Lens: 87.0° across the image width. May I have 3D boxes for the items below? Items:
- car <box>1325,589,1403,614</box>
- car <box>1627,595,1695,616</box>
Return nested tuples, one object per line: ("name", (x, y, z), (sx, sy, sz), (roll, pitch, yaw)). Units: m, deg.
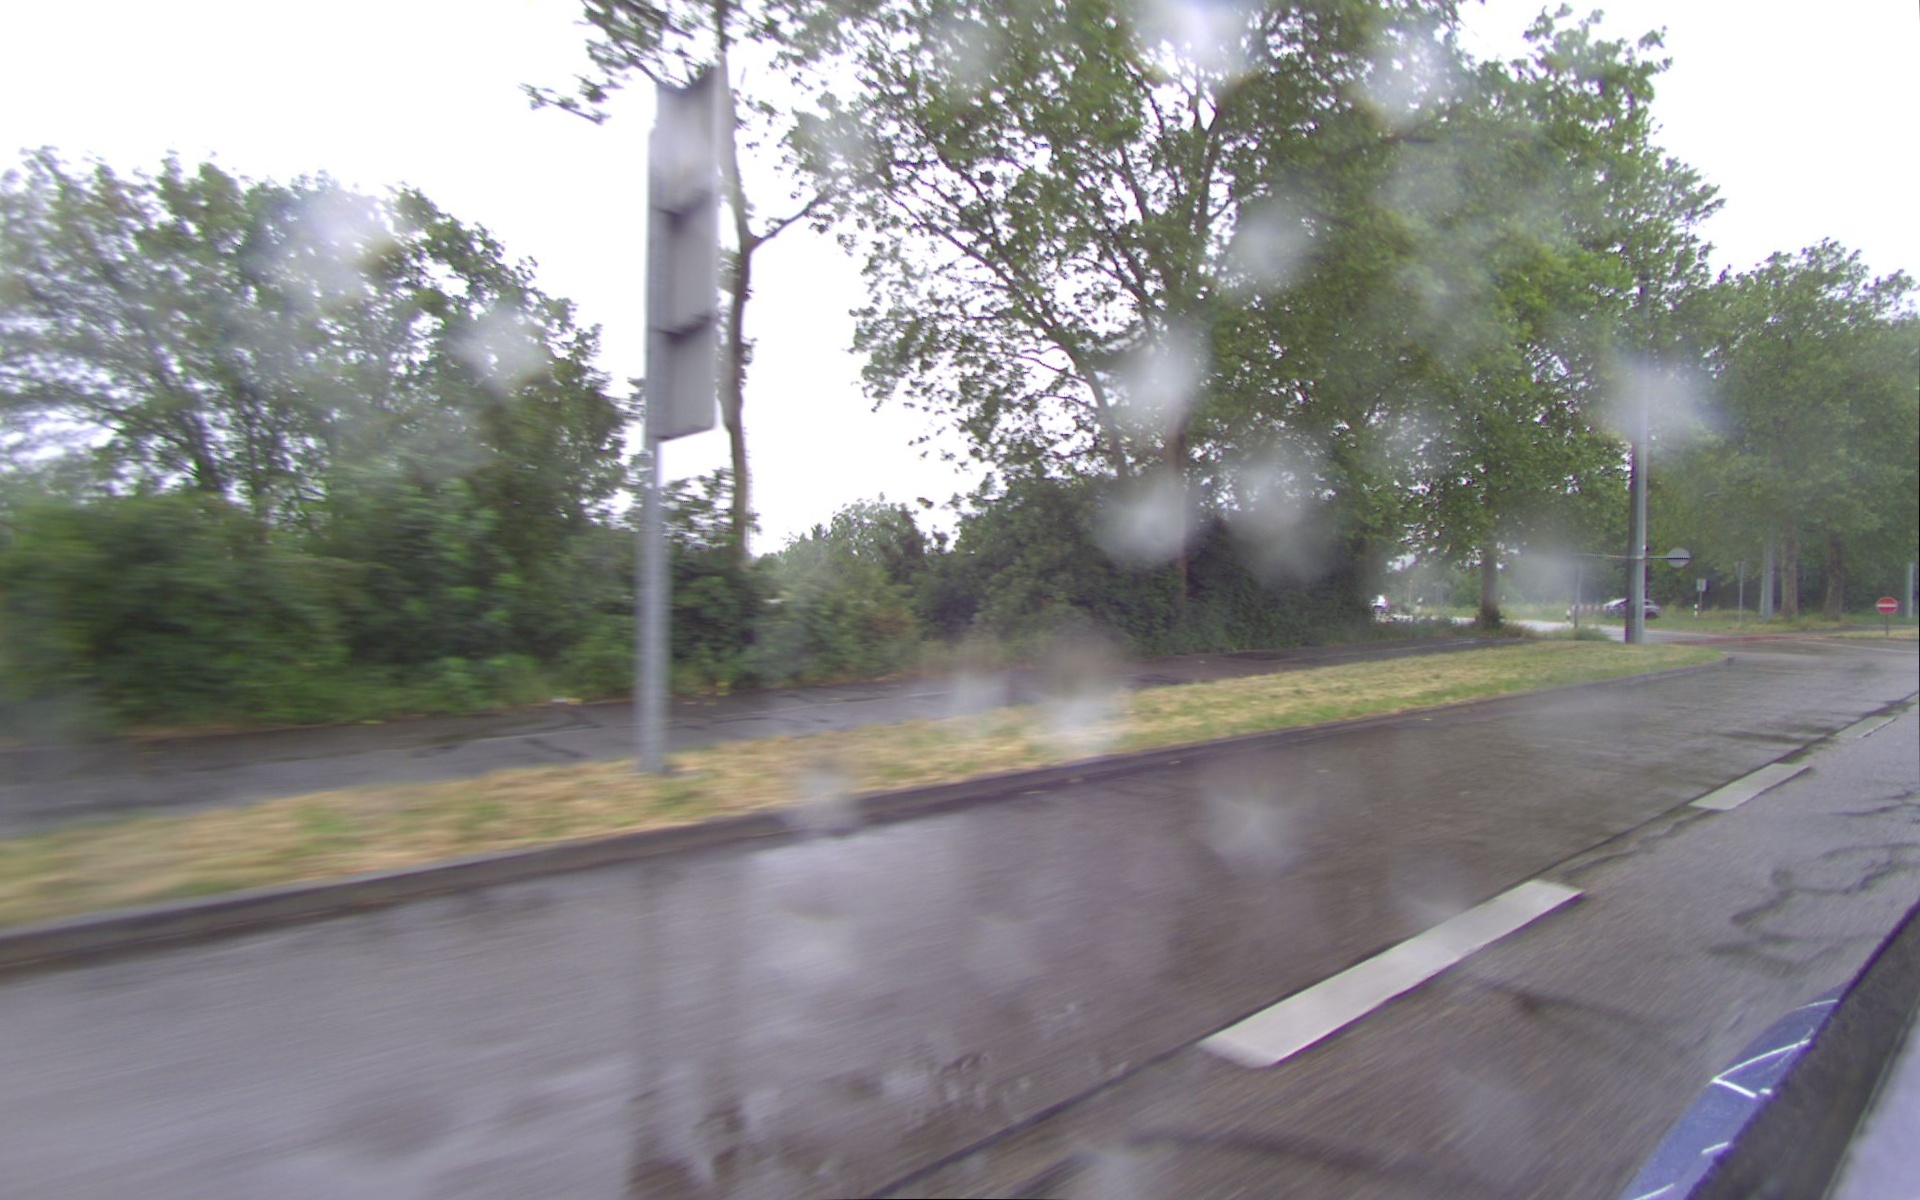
("car", (26.860, 0.097, 67.347), (4.531, 1.522, 1.627), (1, -1, 10))
("car", (44.821, 0.345, 64.748), (3.163, 1.282, 1.598), (1, -1, 3))
